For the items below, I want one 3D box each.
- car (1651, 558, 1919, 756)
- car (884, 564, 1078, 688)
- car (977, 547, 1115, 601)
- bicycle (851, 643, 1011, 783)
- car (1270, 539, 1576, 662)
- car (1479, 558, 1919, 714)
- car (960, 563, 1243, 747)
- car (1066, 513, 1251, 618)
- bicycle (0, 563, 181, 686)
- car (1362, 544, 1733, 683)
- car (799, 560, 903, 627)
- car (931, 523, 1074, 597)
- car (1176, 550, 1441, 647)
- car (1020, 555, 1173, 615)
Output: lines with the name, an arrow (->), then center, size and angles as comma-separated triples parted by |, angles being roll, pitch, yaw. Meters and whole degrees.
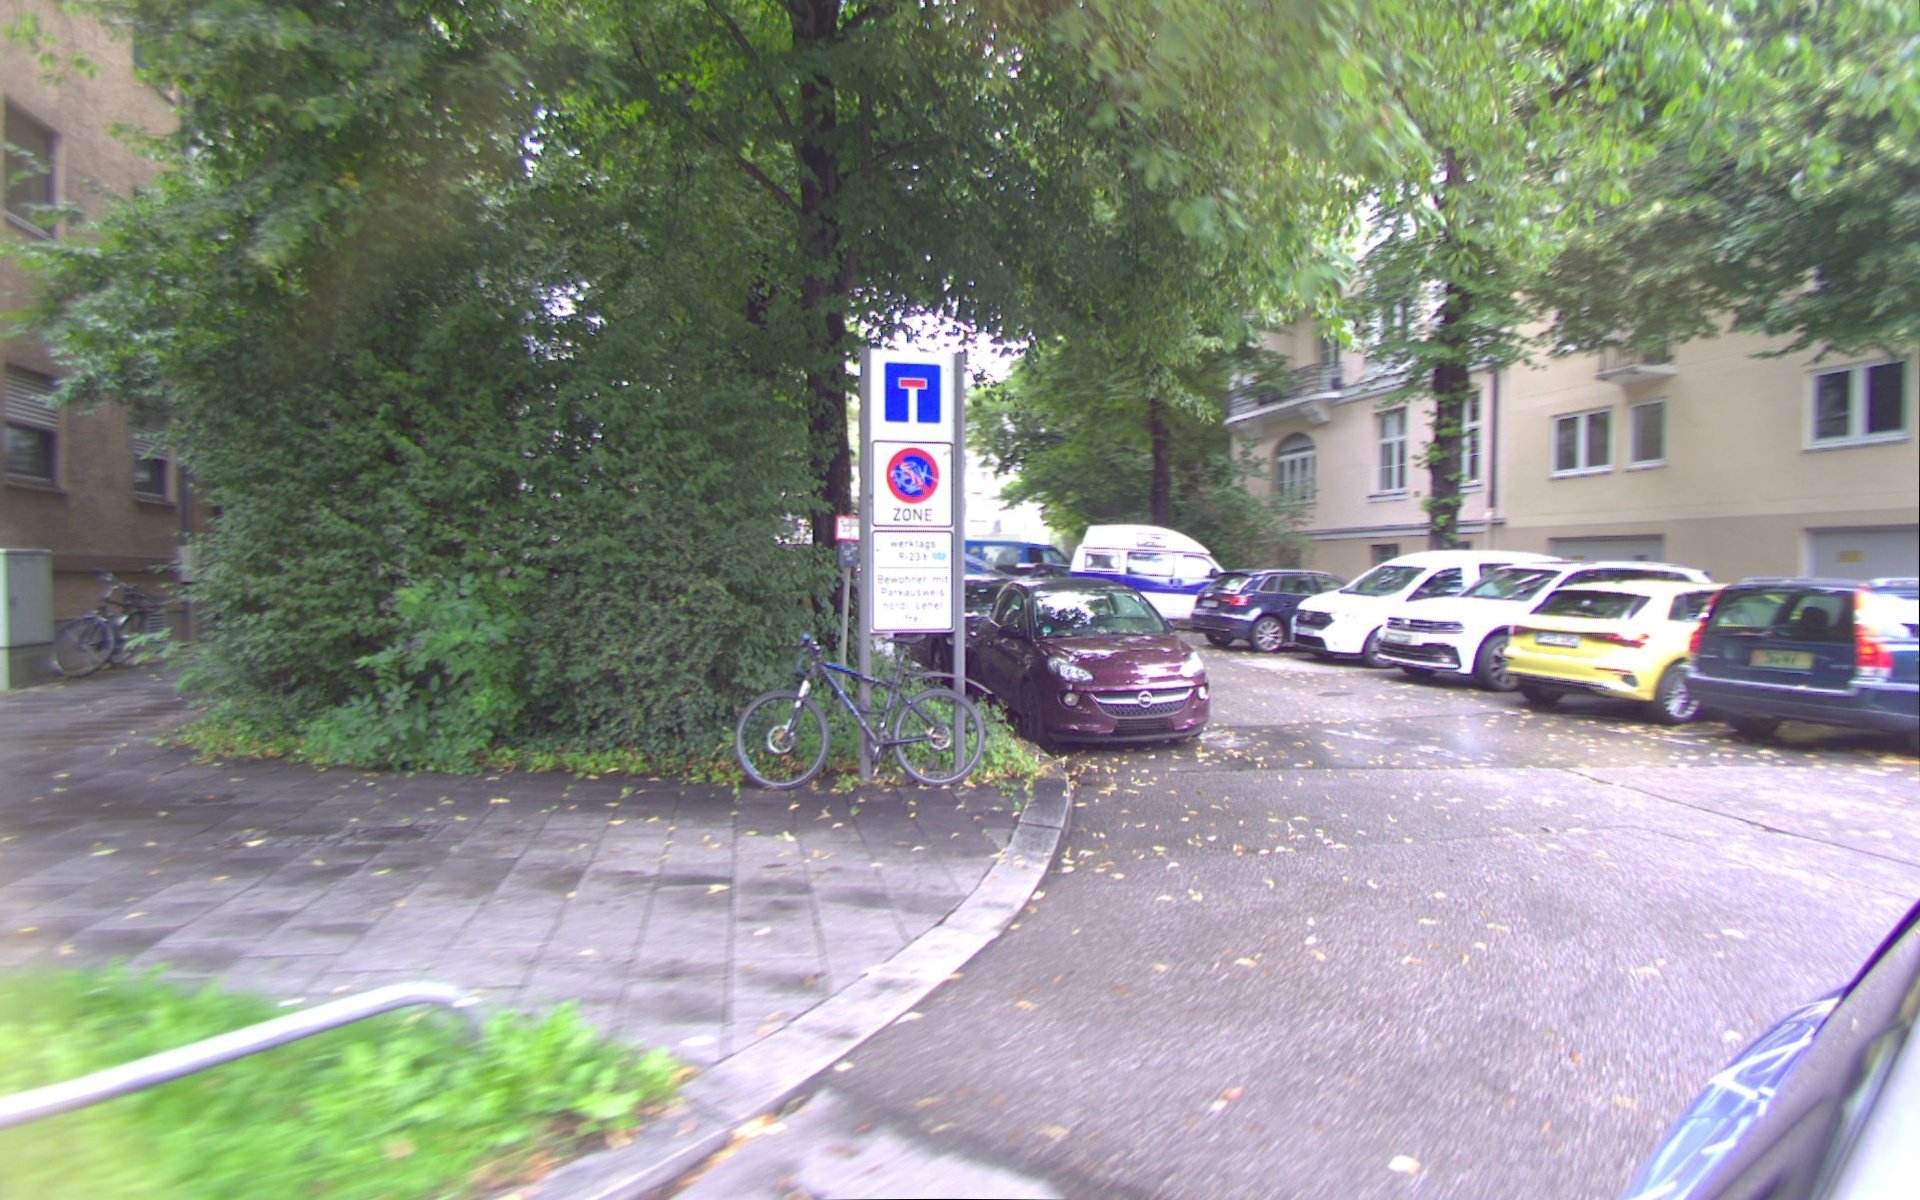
car -> 8.825, 0.368, 9.173 | 4.156, 1.485, 2.060 | -1, 2, -17
car -> 0.138, 0.250, 14.616 | 1.697, 1.515, 4.056 | -1, 2, -16
car -> 2.750, -0.843, 32.306 | 4.061, 1.623, 1.891 | 1, 2, 22
bicycle -> -0.201, 0.748, 6.823 | 1.058, 0.891, 0.250 | 0, 1, -5
car -> 7.312, -0.048, 16.113 | 4.156, 1.772, 1.923 | -1, 2, -16
car -> 8.188, 0.290, 11.217 | 4.156, 1.485, 1.923 | -1, 2, -17
car -> 1.218, 0.388, 10.353 | 1.697, 1.515, 3.717 | -1, 2, -12
car -> 4.615, -0.803, 23.923 | 4.112, 2.342, 1.900 | 0, 2, 9
bicycle -> -9.841, 0.204, 11.517 | 0.689, 1.232, 2.438 | -1, 2, -16
car -> 7.752, 0.100, 13.464 | 4.156, 1.640, 1.923 | -1, 2, -17
car -> -2.653, -0.212, 23.892 | 1.662, 1.456, 3.786 | -1, 2, -18
car -> 1.499, -1.380, 35.382 | 4.632, 2.441, 1.967 | 1, 2, 20
car -> 6.243, -0.078, 18.273 | 4.156, 1.619, 1.923 | -1, 2, -16
car -> 3.942, -0.454, 29.207 | 4.062, 1.623, 1.890 | 1, 2, 23
